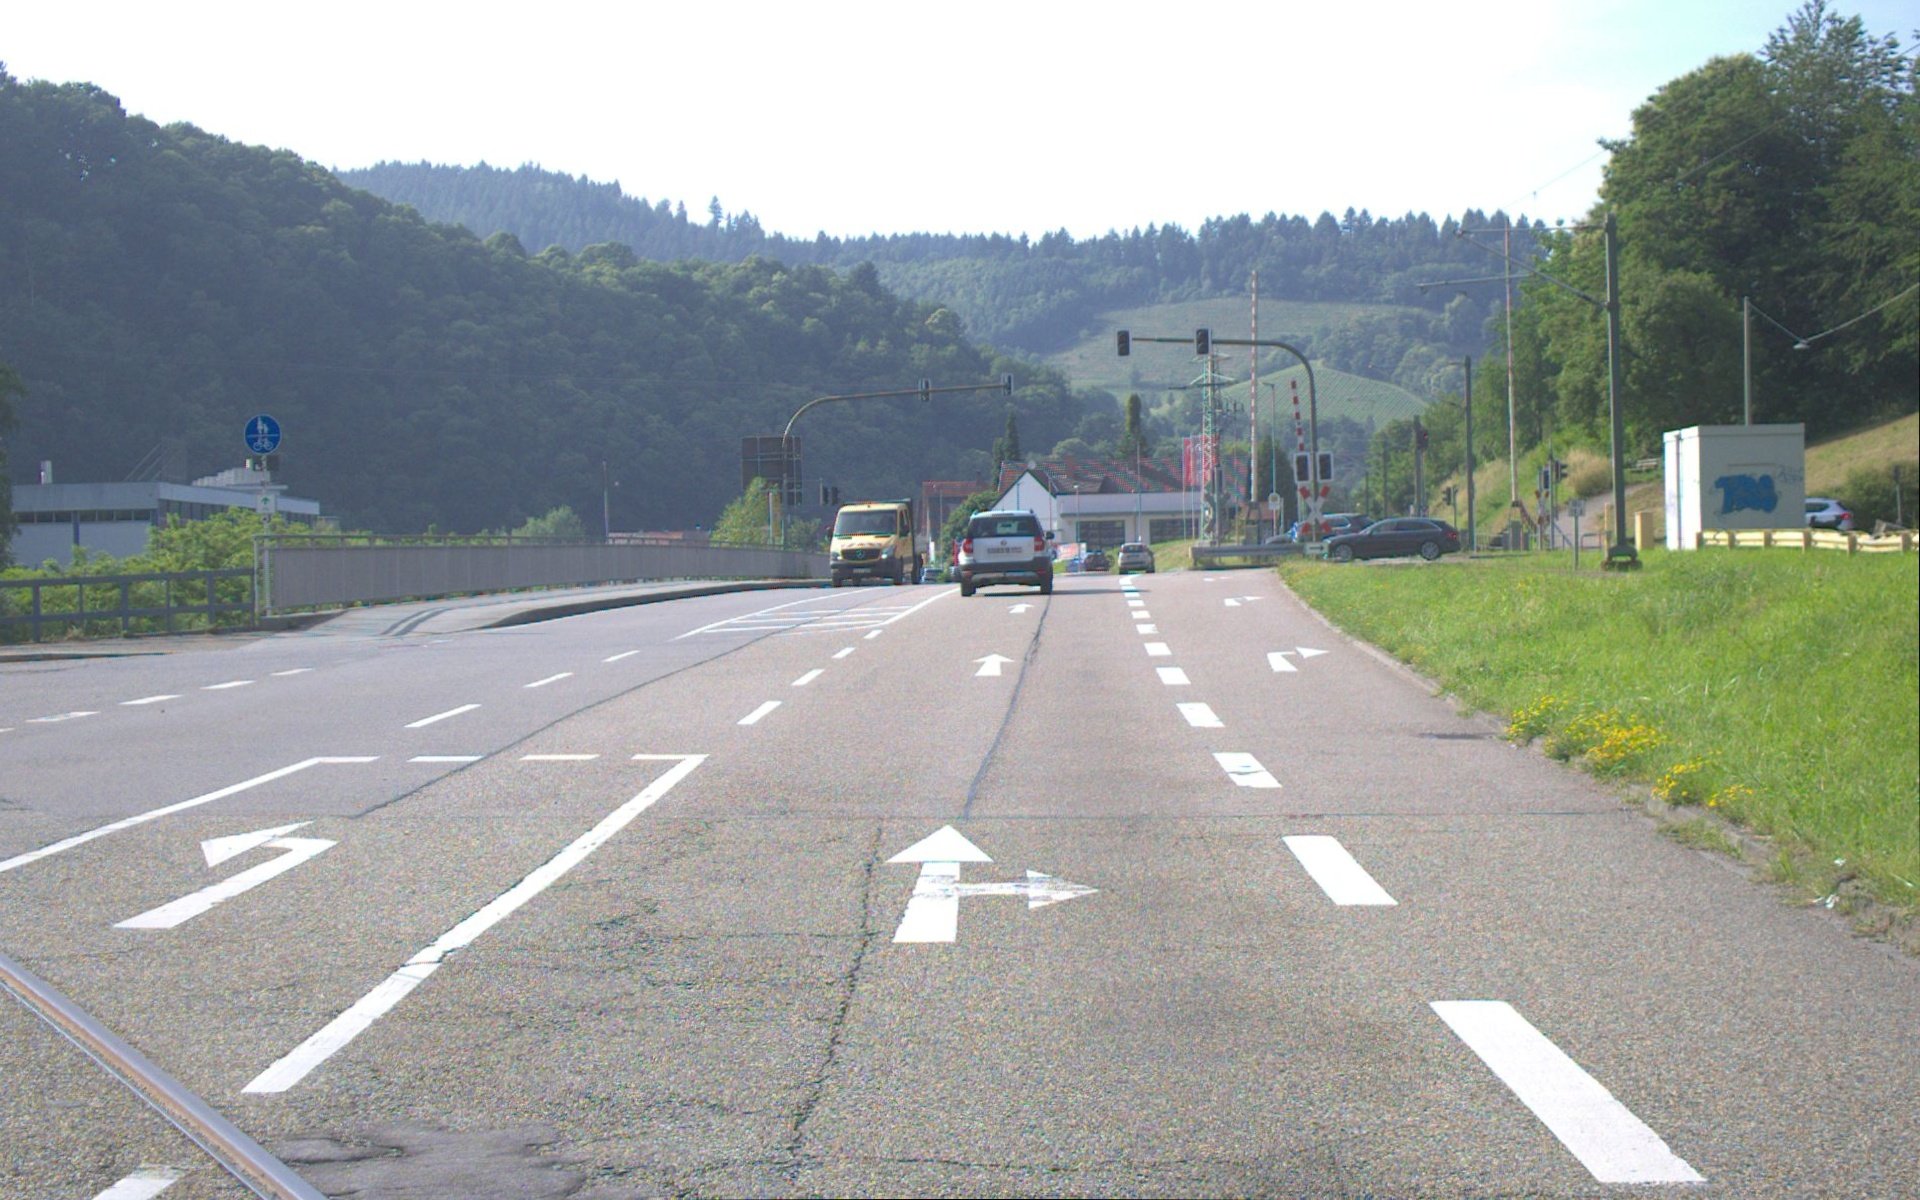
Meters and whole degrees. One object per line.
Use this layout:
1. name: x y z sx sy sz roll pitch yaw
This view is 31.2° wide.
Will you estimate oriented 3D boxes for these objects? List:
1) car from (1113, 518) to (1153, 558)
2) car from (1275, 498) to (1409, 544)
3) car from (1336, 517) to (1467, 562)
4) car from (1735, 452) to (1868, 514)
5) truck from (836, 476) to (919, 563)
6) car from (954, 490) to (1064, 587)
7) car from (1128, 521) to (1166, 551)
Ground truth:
1. car: 9.170 -3.283 182.501 1.993 2.006 4.000 -2 2 2
2. car: 12.346 -2.547 110.961 3.990 1.350 1.876 -1 2 17
3. car: 14.503 -1.996 112.930 3.990 1.350 1.876 -1 2 17
4. car: 26.936 -3.741 109.975 3.990 1.875 1.876 -1 2 17
5. truck: -2.294 -2.303 97.473 1.993 2.335 5.698 -1 2 2
6. car: 0.942 -1.208 67.187 1.993 1.717 3.990 -3 1 0
7. car: 10.650 -3.652 196.030 1.993 1.612 4.000 -2 2 2
